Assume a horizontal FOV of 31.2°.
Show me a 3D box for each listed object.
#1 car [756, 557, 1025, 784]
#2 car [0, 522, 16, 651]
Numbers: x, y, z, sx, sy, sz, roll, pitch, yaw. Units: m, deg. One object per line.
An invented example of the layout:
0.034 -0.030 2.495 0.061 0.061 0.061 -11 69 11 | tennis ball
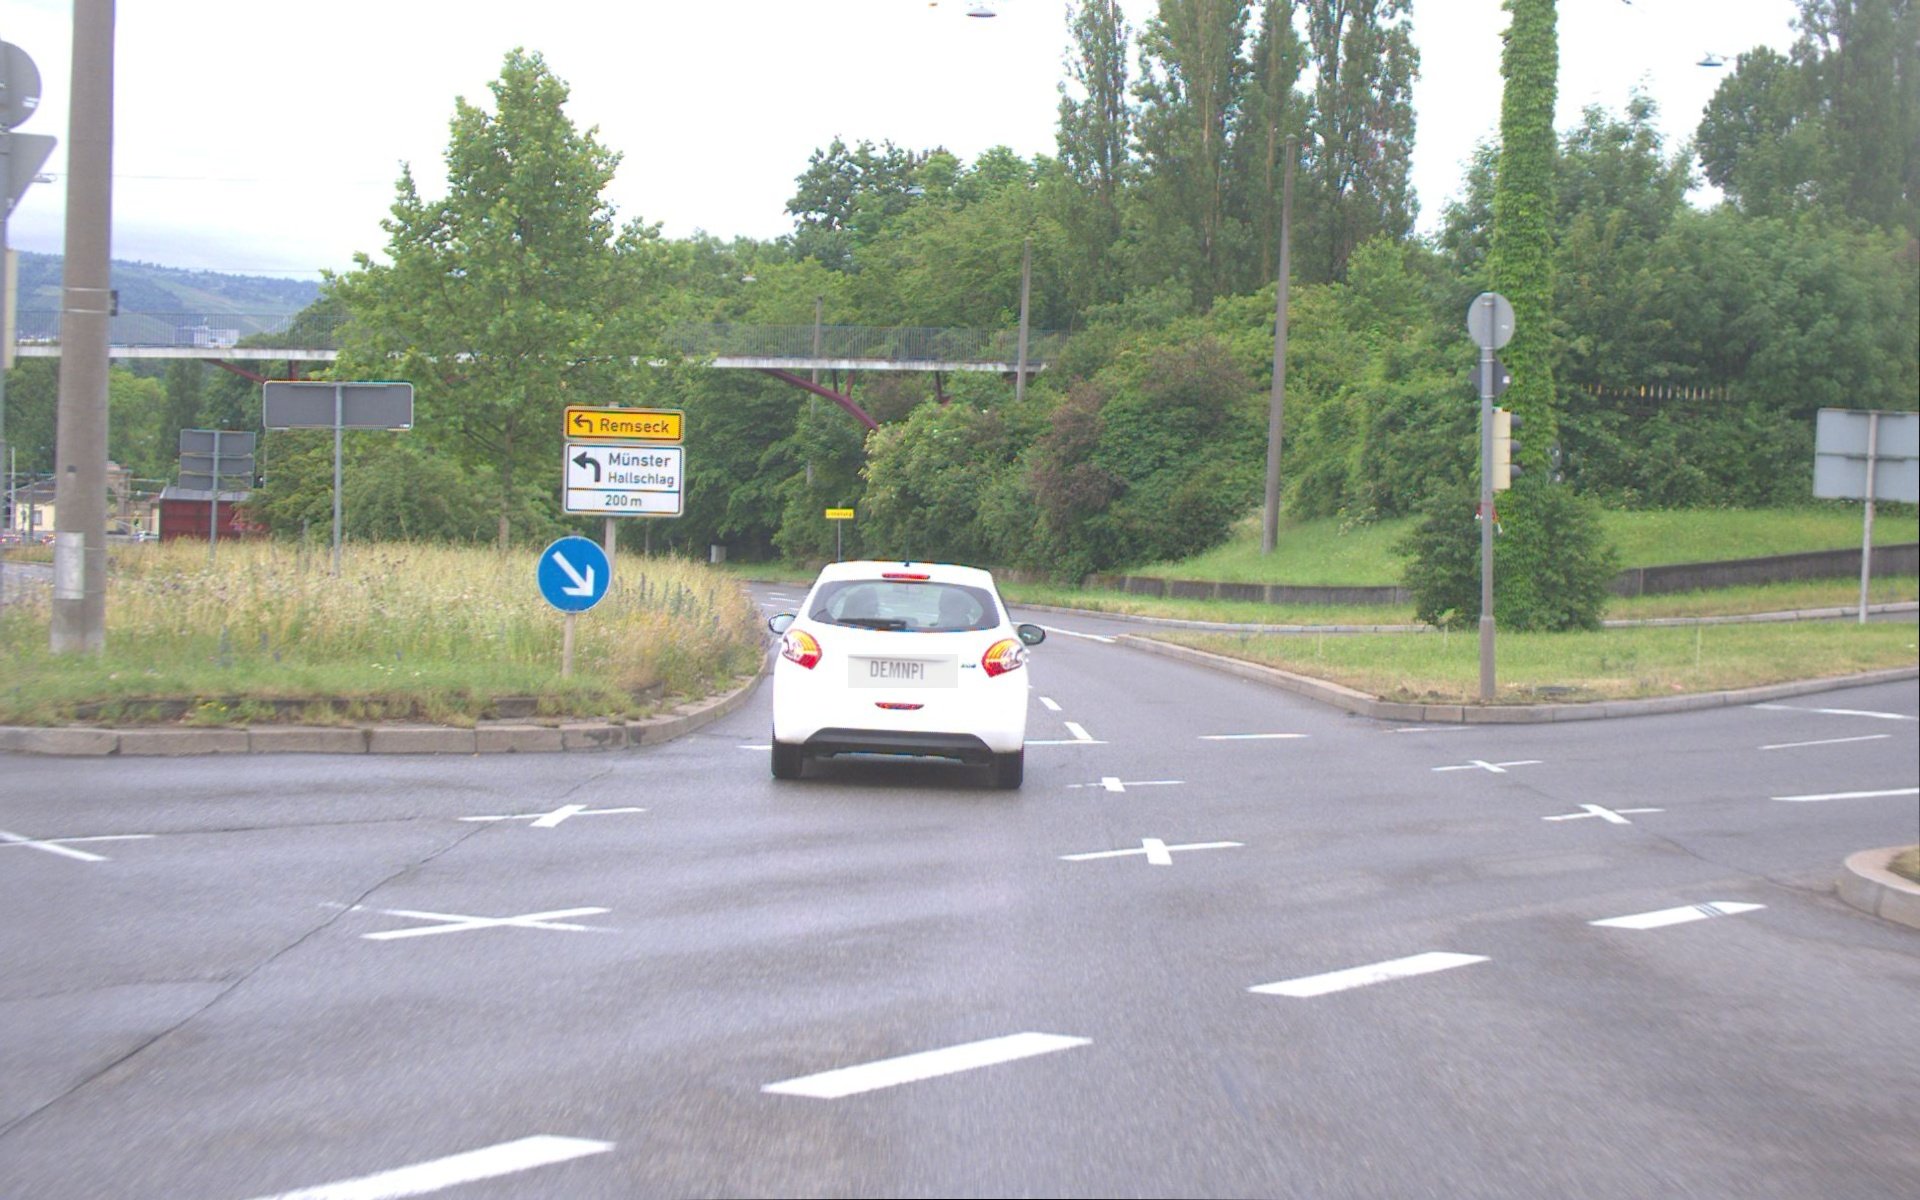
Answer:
-0.460 0.452 23.875 1.708 1.435 3.690 1 0 0 | car
-10.811 -0.105 34.103 1.895 1.320 4.001 2 2 -2 | car
